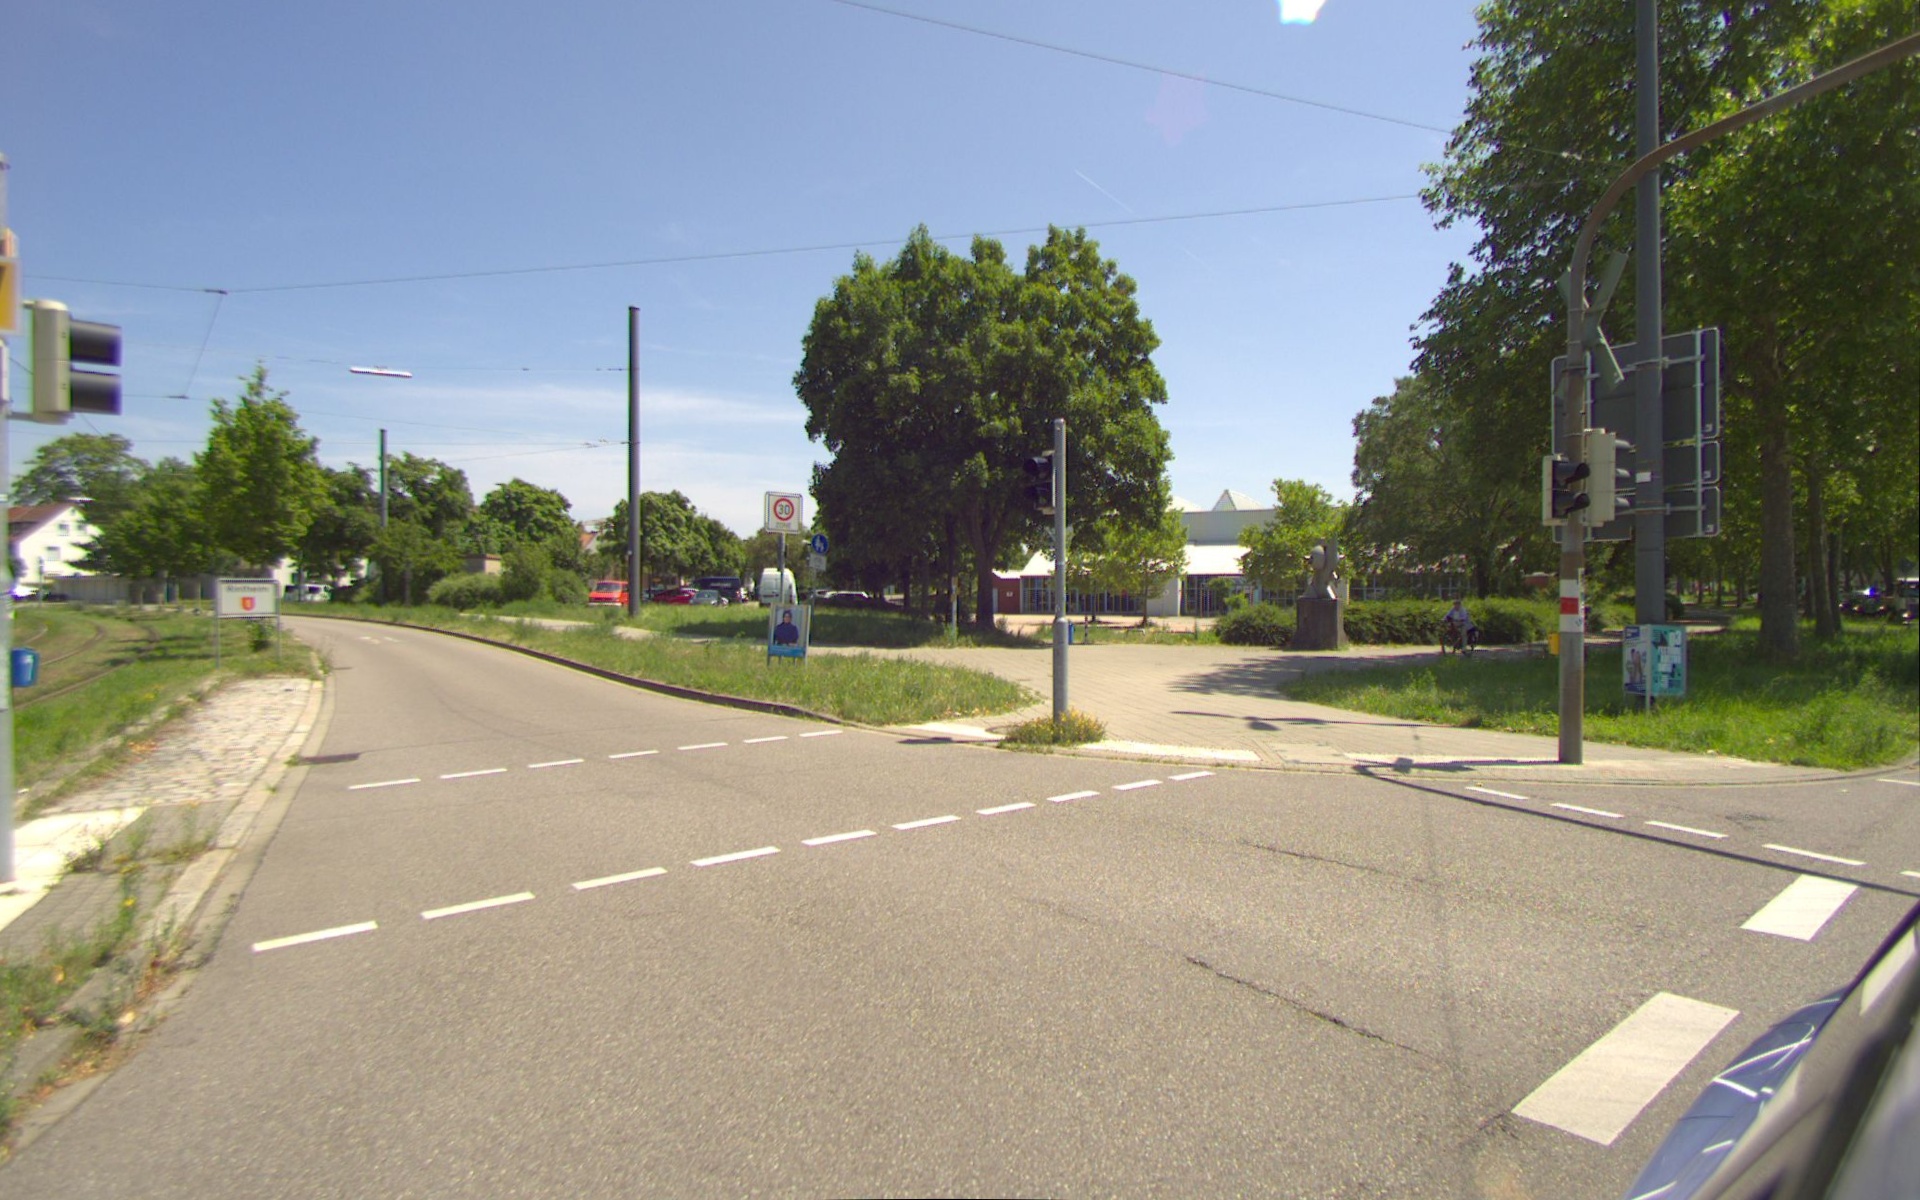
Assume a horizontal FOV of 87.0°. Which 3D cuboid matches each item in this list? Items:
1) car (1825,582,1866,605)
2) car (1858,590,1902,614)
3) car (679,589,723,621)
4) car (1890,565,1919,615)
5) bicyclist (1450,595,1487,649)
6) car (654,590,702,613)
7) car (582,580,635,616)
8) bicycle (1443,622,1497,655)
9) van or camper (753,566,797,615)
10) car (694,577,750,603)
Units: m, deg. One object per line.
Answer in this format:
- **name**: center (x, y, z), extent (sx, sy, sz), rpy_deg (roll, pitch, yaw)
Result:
- **car**: center (71.059, -0.534, 81.280), extent (1.986, 1.861, 3.951), rpy_deg (0, 0, 34)
- **car**: center (64.362, 0.112, 70.862), extent (1.989, 1.638, 3.945), rpy_deg (0, 0, 38)
- **car**: center (-14.781, 0.261, 57.969), extent (1.917, 1.740, 4.076), rpy_deg (0, 0, -6)
- **car**: center (53.744, -0.566, 56.277), extent (2.909, 2.688, 6.269), rpy_deg (0, 0, 42)
- **bicyclist**: center (12.984, 0.555, 25.825), extent (0.653, 1.356, 0.601), rpy_deg (0, 0, -33)
- **car**: center (-19.500, 0.097, 70.135), extent (3.018, 1.624, 1.516), rpy_deg (0, 0, -7)
- **car**: center (-20.479, -0.110, 59.152), extent (2.032, 2.028, 4.669), rpy_deg (0, 0, -7)
- **bicycle**: center (13.025, 0.967, 25.826), extent (1.636, 0.774, 0.465), rpy_deg (0, 0, -33)
- **van or camper**: center (-10.964, -0.563, 60.331), extent (2.159, 2.786, 5.135), rpy_deg (0, 0, -6)
- **car**: center (-19.365, -0.813, 82.405), extent (4.331, 2.039, 2.250), rpy_deg (0, 0, -11)
